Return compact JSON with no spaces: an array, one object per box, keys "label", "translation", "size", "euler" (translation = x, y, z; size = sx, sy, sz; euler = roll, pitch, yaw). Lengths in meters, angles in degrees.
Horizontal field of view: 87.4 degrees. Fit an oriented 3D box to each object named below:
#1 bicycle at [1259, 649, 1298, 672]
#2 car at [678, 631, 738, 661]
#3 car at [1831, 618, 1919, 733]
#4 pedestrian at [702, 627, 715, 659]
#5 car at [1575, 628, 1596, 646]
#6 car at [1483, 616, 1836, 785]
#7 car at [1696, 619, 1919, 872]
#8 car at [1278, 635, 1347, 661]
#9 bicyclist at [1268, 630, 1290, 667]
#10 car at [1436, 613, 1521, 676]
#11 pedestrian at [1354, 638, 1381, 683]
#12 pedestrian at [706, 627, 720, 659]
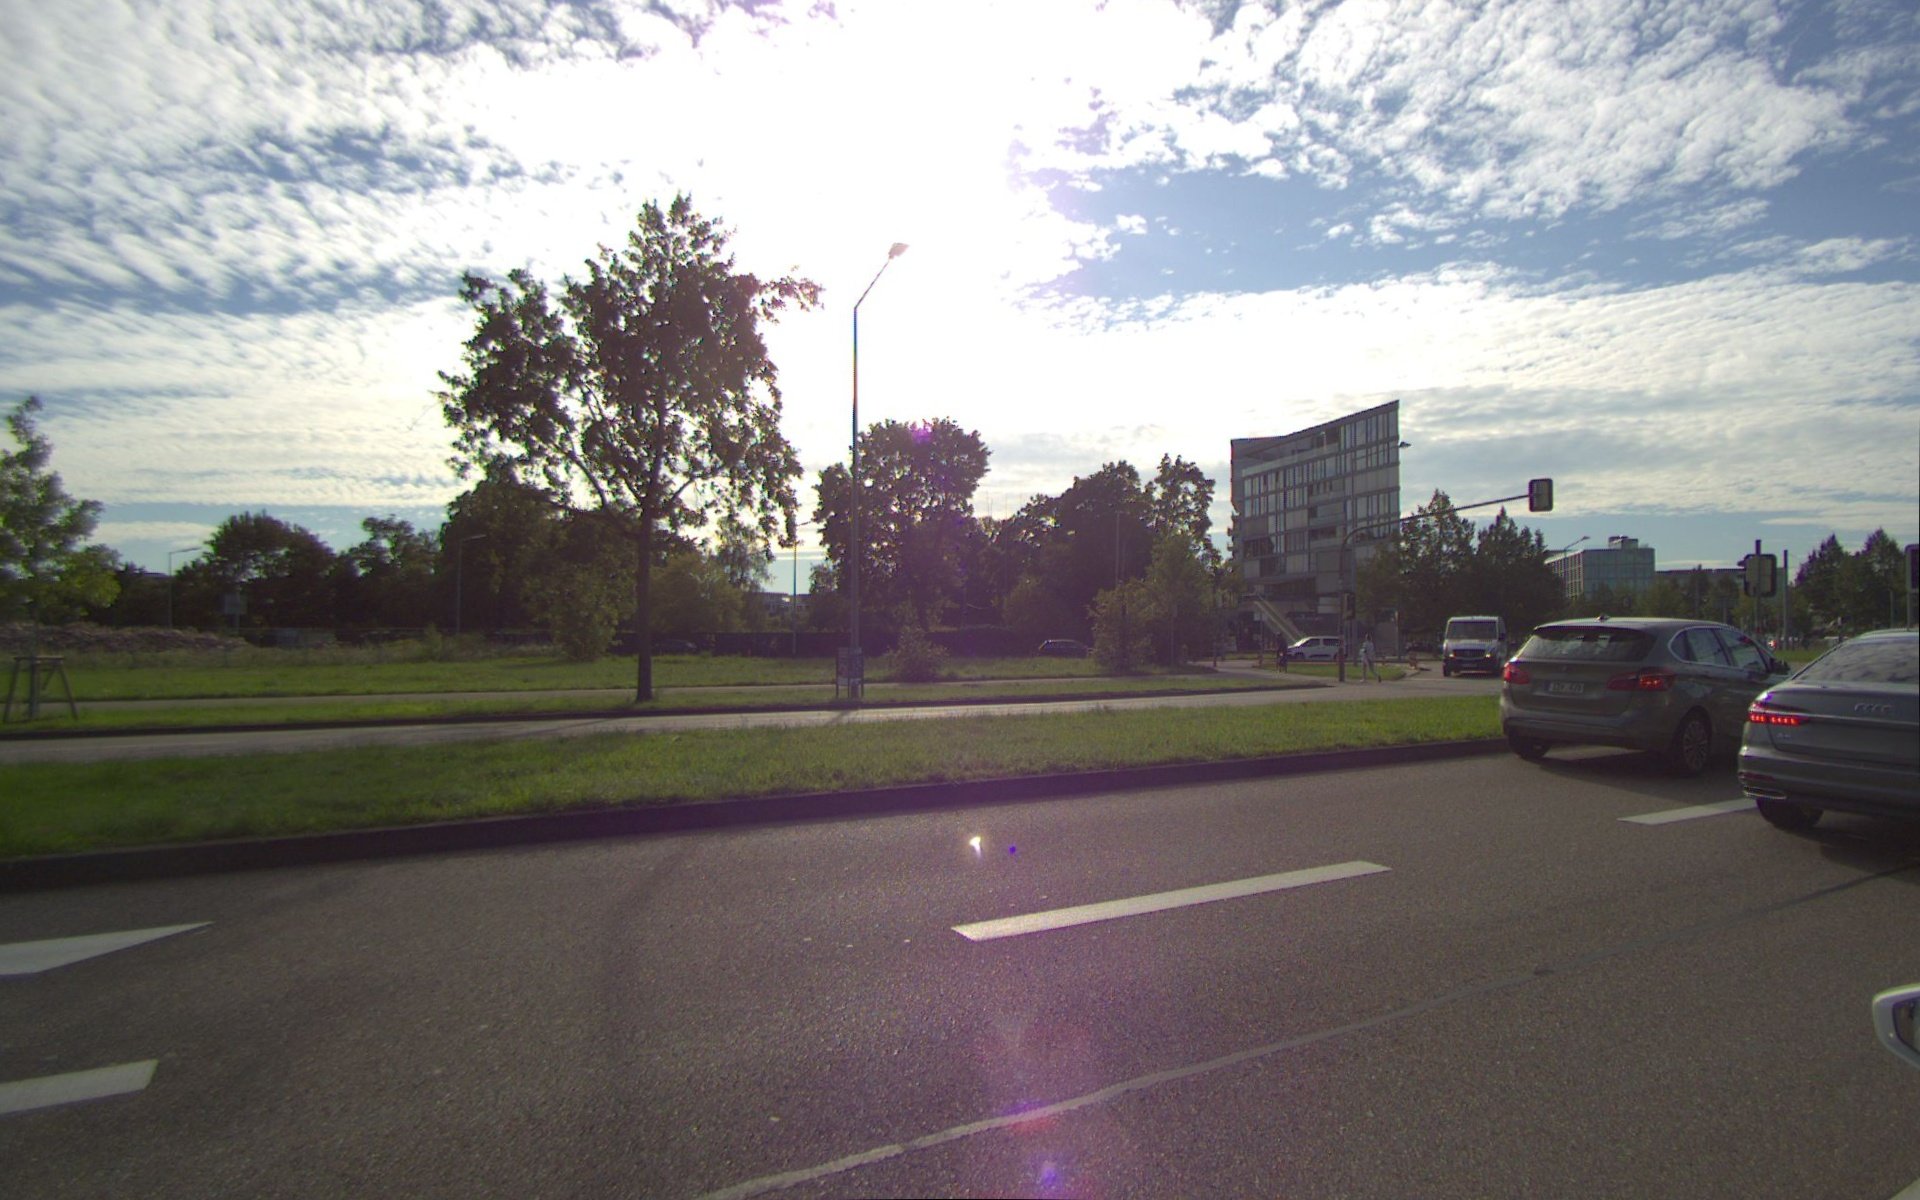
[{"label":"bicycle","translation":[14.382,2.736,45.396],"size":[0.638,0.979,1.664],"euler":[4,-4,-34]},{"label":"car","translation":[-19.158,3.471,76.502],"size":[3.919,2.040,2.001],"euler":[2,-1,13]},{"label":"car","translation":[15.000,1.082,15.107],"size":[3.831,1.585,1.713],"euler":[1,0,-30]},{"label":"pedestrian","translation":[-16.068,2.745,64.228],"size":[0.675,2.040,0.641],"euler":[0,-2,-5]},{"label":"car","translation":[57.714,3.458,92.689],"size":[1.570,1.433,3.662],"euler":[-3,-6,33]},{"label":"car","translation":[7.824,0.997,11.172],"size":[3.971,1.579,1.721],"euler":[1,-1,-30]},{"label":"car","translation":[7.606,0.940,7.409],"size":[4.559,1.502,1.881],"euler":[2,-1,-31]},{"label":"car","translation":[24.264,3.325,69.301],"size":[4.046,1.770,2.001],"euler":[0,-2,2]},{"label":"bicyclist","translation":[14.411,2.190,45.358],"size":[0.544,1.690,0.783],"euler":[2,-3,-34]},{"label":"car","translation":[20.488,1.791,39.552],"size":[1.968,2.264,5.903],"euler":[-3,-4,37]},{"label":"pedestrian","translation":[14.379,2.132,35.464],"size":[0.609,1.589,0.651],"euler":[2,-2,-34]},{"label":"pedestrian","translation":[-16.002,2.798,65.055],"size":[0.723,2.040,0.739],"euler":[0,-2,-5]}]
